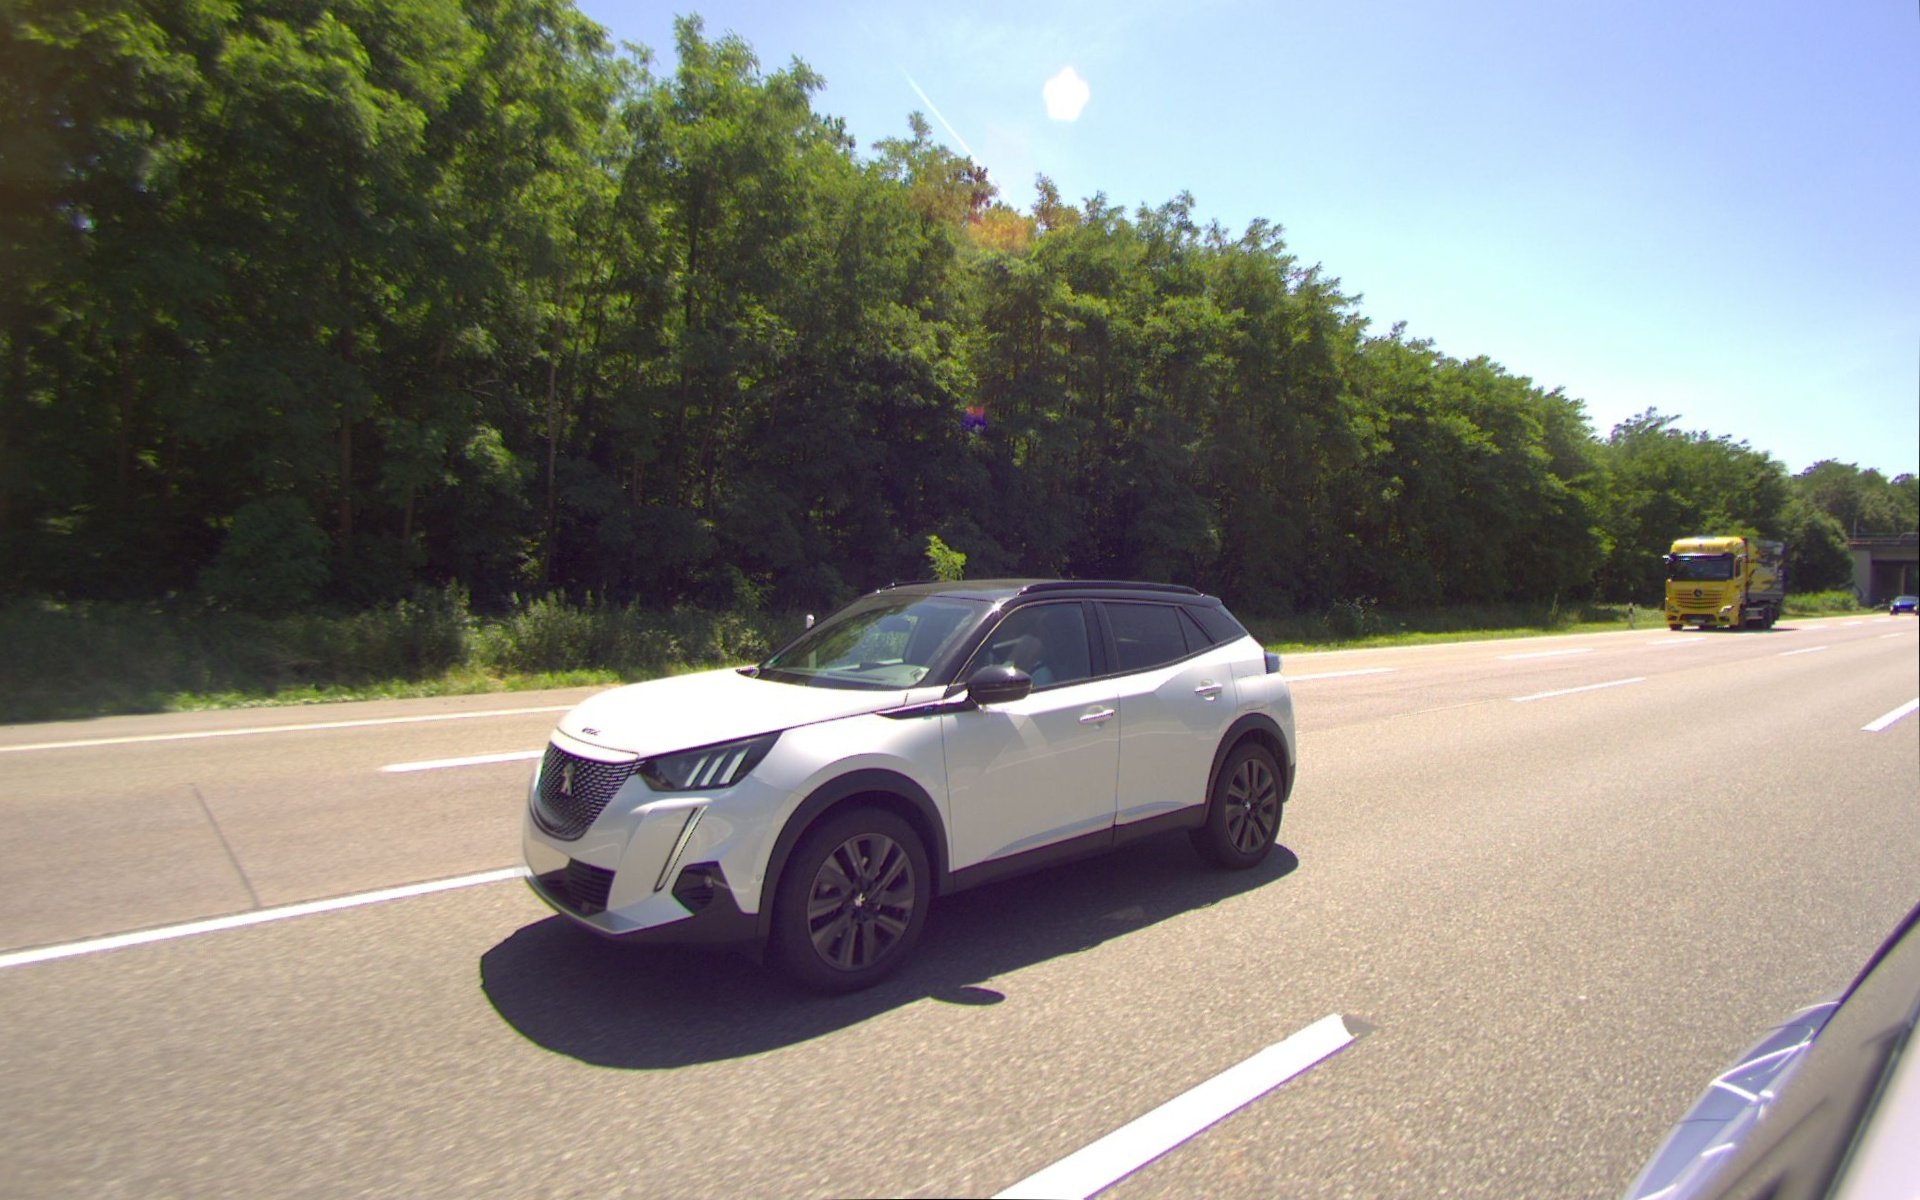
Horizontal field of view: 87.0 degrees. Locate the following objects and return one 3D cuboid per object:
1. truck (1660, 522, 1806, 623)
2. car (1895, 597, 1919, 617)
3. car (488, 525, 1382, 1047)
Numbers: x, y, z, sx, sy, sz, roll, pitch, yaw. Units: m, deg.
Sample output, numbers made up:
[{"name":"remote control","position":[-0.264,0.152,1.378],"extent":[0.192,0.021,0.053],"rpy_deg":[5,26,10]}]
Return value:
[{"name":"truck","position":[35.050,-1.146,45.666],"extent":[10.787,4.088,2.980],"rpy_deg":[-1,0,-40]},{"name":"car","position":[78.585,0.565,83.382],"extent":[4.128,1.575,1.873],"rpy_deg":[-1,1,-41]},{"name":"car","position":[0.246,0.543,5.413],"extent":[4.725,1.628,1.830],"rpy_deg":[-1,1,-41]}]
